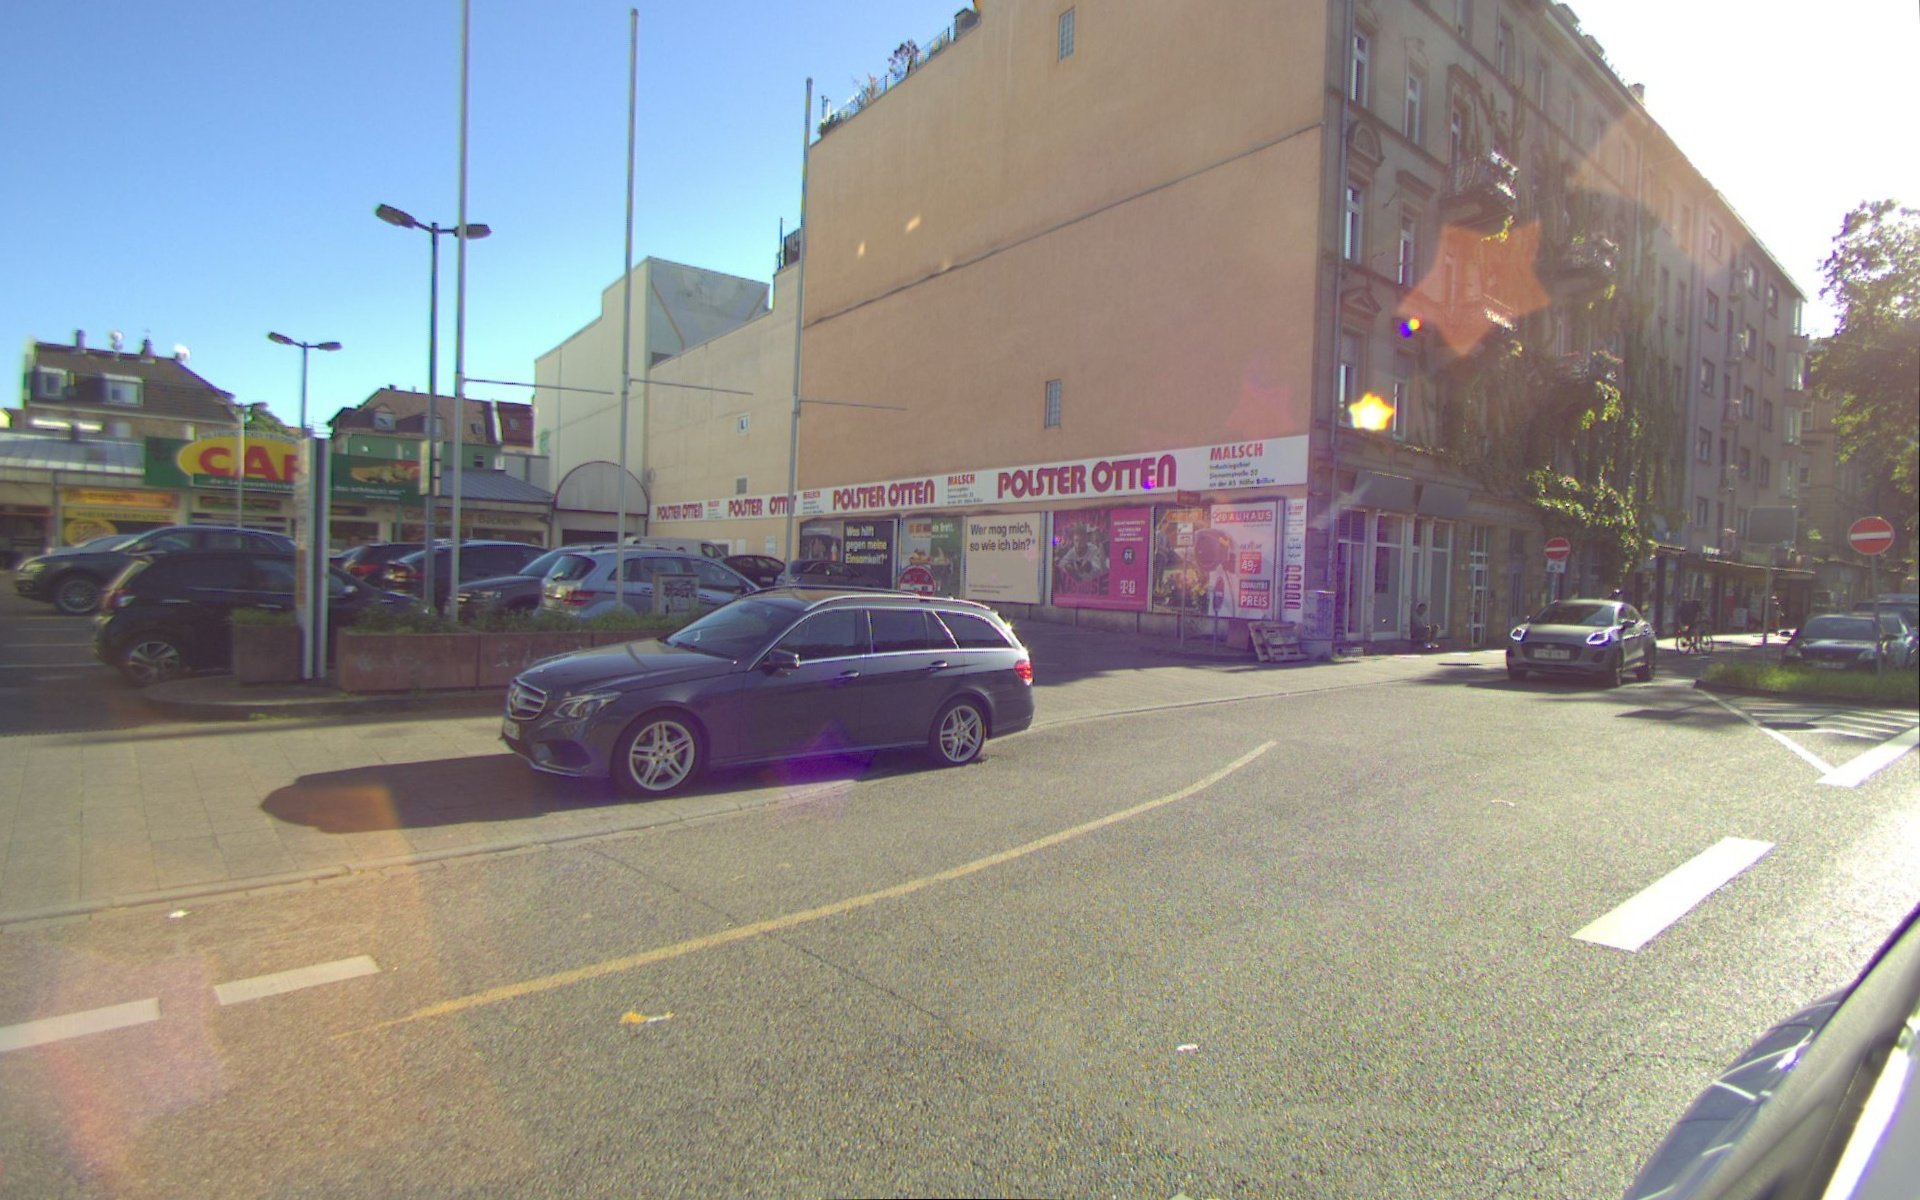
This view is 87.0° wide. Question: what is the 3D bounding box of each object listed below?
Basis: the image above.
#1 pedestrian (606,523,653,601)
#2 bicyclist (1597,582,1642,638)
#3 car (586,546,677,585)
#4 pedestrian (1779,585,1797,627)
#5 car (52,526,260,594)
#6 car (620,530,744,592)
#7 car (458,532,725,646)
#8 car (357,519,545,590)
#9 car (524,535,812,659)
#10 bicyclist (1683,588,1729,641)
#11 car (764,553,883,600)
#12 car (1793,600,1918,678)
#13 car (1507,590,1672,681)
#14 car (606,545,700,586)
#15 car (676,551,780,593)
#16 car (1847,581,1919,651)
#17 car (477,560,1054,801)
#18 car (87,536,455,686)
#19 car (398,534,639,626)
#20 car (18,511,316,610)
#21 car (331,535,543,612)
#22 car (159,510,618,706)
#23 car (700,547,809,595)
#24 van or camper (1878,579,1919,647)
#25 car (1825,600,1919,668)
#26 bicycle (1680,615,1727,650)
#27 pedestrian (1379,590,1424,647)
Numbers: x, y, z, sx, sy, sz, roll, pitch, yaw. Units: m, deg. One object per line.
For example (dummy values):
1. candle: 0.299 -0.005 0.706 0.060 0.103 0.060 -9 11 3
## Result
1. pedestrian: -8.825 -1.016 27.035 0.907 2.039 0.818 1 1 -40
2. bicyclist: 17.998 0.265 27.620 0.934 1.480 0.746 0 1 -39
3. car: -16.157 -1.704 49.805 3.967 1.758 1.664 1 2 -30
4. pedestrian: 37.234 0.251 45.502 0.507 1.856 0.469 1 1 -41
5. car: -19.964 -0.972 25.249 3.930 1.538 1.725 0 2 -41
6. car: -11.851 -1.633 43.263 4.790 2.442 1.711 1 2 -35
7. car: -6.251 -0.211 17.412 3.933 1.714 1.747 0 3 -44
8. car: -12.572 -1.099 25.140 3.870 1.601 1.659 0 2 -42
9. car: -4.418 -0.078 15.677 3.934 1.665 1.746 0 2 -45
10. bicyclist: 21.560 0.411 29.245 1.161 1.463 0.678 1 5 -41
11. car: -4.525 -0.799 33.650 3.579 1.481 1.680 -1 3 -39
12. car: 19.484 0.784 21.976 3.932 1.537 1.642 0 -1 -43
13. car: 12.211 0.605 19.508 4.308 1.547 1.699 0 1 -44
14. car: -14.473 -1.622 47.740 3.967 1.823 1.664 1 2 -30
15. car: -8.952 -1.104 39.150 3.575 1.552 1.682 -1 3 -35
16. car: 26.516 0.428 28.394 3.929 1.785 1.868 0 2 -40
17. car: -1.496 0.519 8.902 4.650 1.505 1.838 0 4 -40
18. car: -7.966 0.080 11.858 3.339 1.504 1.559 0 2 -45
19. car: -8.228 -0.372 19.054 3.871 1.563 1.544 0 2 -43
20. car: -14.984 -0.703 19.334 4.306 1.687 1.758 0 2 -41
21. car: -11.460 -0.563 22.311 3.870 1.563 1.544 0 2 -42
22. car: -5.791 0.039 10.545 3.839 1.664 1.652 1 3 -45
23. car: -7.566 -1.089 37.345 3.575 1.690 1.682 -1 3 -35
24. van or camper: 30.633 0.408 31.933 5.006 2.038 1.887 0 2 -42
25. car: 22.732 0.773 24.906 3.932 1.537 1.740 0 -1 -43
26. bicycle: 21.464 0.914 29.195 1.884 0.931 0.651 1 1 -40
27. pedestrian: 10.280 0.417 23.569 0.702 1.276 0.716 0 2 -44
